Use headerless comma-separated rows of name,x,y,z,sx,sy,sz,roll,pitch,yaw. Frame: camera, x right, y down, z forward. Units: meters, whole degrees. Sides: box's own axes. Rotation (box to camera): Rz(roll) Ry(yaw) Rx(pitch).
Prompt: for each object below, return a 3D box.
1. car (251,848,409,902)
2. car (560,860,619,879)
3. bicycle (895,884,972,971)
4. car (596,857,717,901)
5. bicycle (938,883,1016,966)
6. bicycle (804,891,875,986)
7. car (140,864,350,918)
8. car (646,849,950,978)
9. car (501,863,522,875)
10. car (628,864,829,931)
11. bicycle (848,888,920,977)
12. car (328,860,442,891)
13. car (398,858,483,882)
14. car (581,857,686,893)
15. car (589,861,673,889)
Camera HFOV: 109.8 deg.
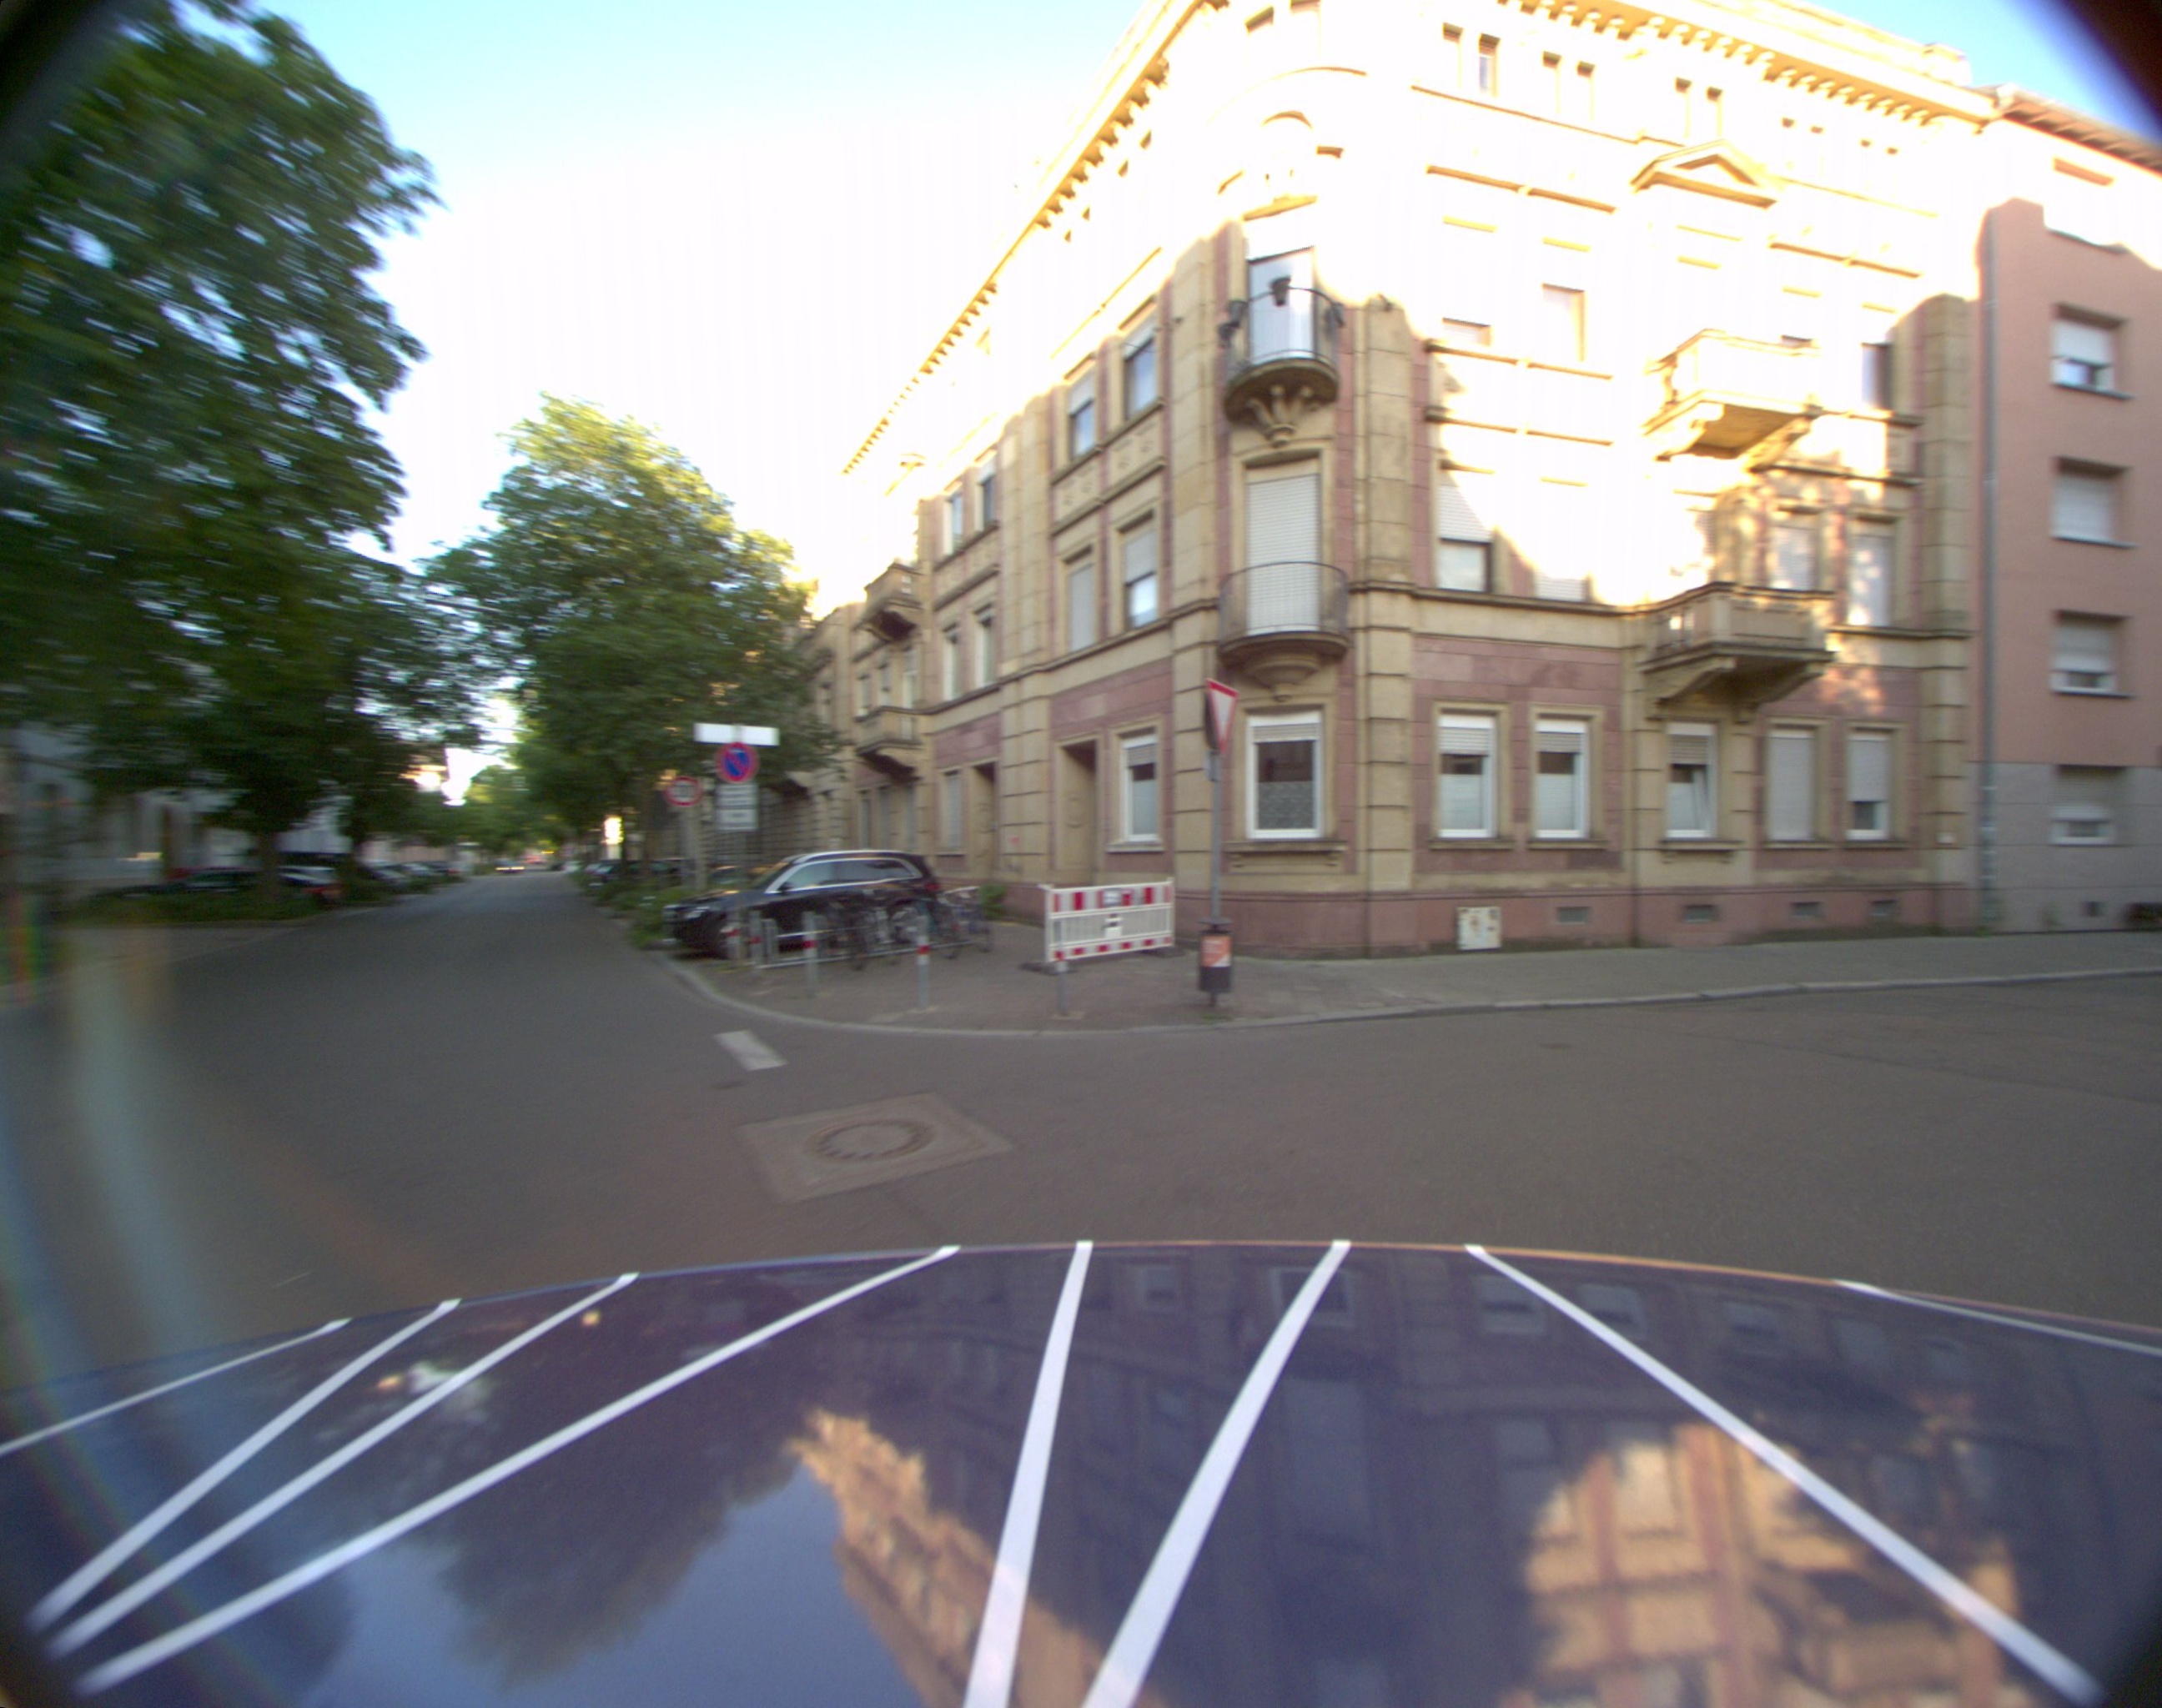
car,-31.407,0.840,31.997,4.454,2.110,1.772,-1,0,-34
car,-45.051,1.375,69.697,4.454,1.638,1.772,-1,0,-34
bicycle,-2.231,1.047,11.311,0.365,1.083,1.865,-3,3,-35
car,-18.344,1.025,32.908,4.454,1.728,1.772,-1,0,-34
bicycle,-1.641,1.037,11.737,0.365,1.083,1.865,-3,3,-35
bicycle,-3.386,1.123,10.568,0.365,1.083,1.865,-3,3,-35
car,-27.900,1.180,25.605,4.454,1.603,1.772,-1,0,-34
car,-4.789,0.866,13.182,4.599,1.729,1.772,-2,3,-34
car,-67.332,1.759,89.861,1.832,1.364,3.989,-1,0,-36
car,-8.974,1.034,19.501,4.454,1.479,1.772,-1,0,-34
bicycle,-2.893,1.092,11.048,0.365,1.083,1.865,-3,3,-35
car,-38.607,1.147,42.296,4.454,1.603,1.772,-1,0,-34
car,-45.613,1.130,54.216,4.454,1.603,1.772,-1,0,-34
car,-22.621,1.019,38.464,4.454,1.728,1.772,-1,0,-34
car,-25.624,1.183,43.299,4.041,1.474,1.772,-1,0,-34
